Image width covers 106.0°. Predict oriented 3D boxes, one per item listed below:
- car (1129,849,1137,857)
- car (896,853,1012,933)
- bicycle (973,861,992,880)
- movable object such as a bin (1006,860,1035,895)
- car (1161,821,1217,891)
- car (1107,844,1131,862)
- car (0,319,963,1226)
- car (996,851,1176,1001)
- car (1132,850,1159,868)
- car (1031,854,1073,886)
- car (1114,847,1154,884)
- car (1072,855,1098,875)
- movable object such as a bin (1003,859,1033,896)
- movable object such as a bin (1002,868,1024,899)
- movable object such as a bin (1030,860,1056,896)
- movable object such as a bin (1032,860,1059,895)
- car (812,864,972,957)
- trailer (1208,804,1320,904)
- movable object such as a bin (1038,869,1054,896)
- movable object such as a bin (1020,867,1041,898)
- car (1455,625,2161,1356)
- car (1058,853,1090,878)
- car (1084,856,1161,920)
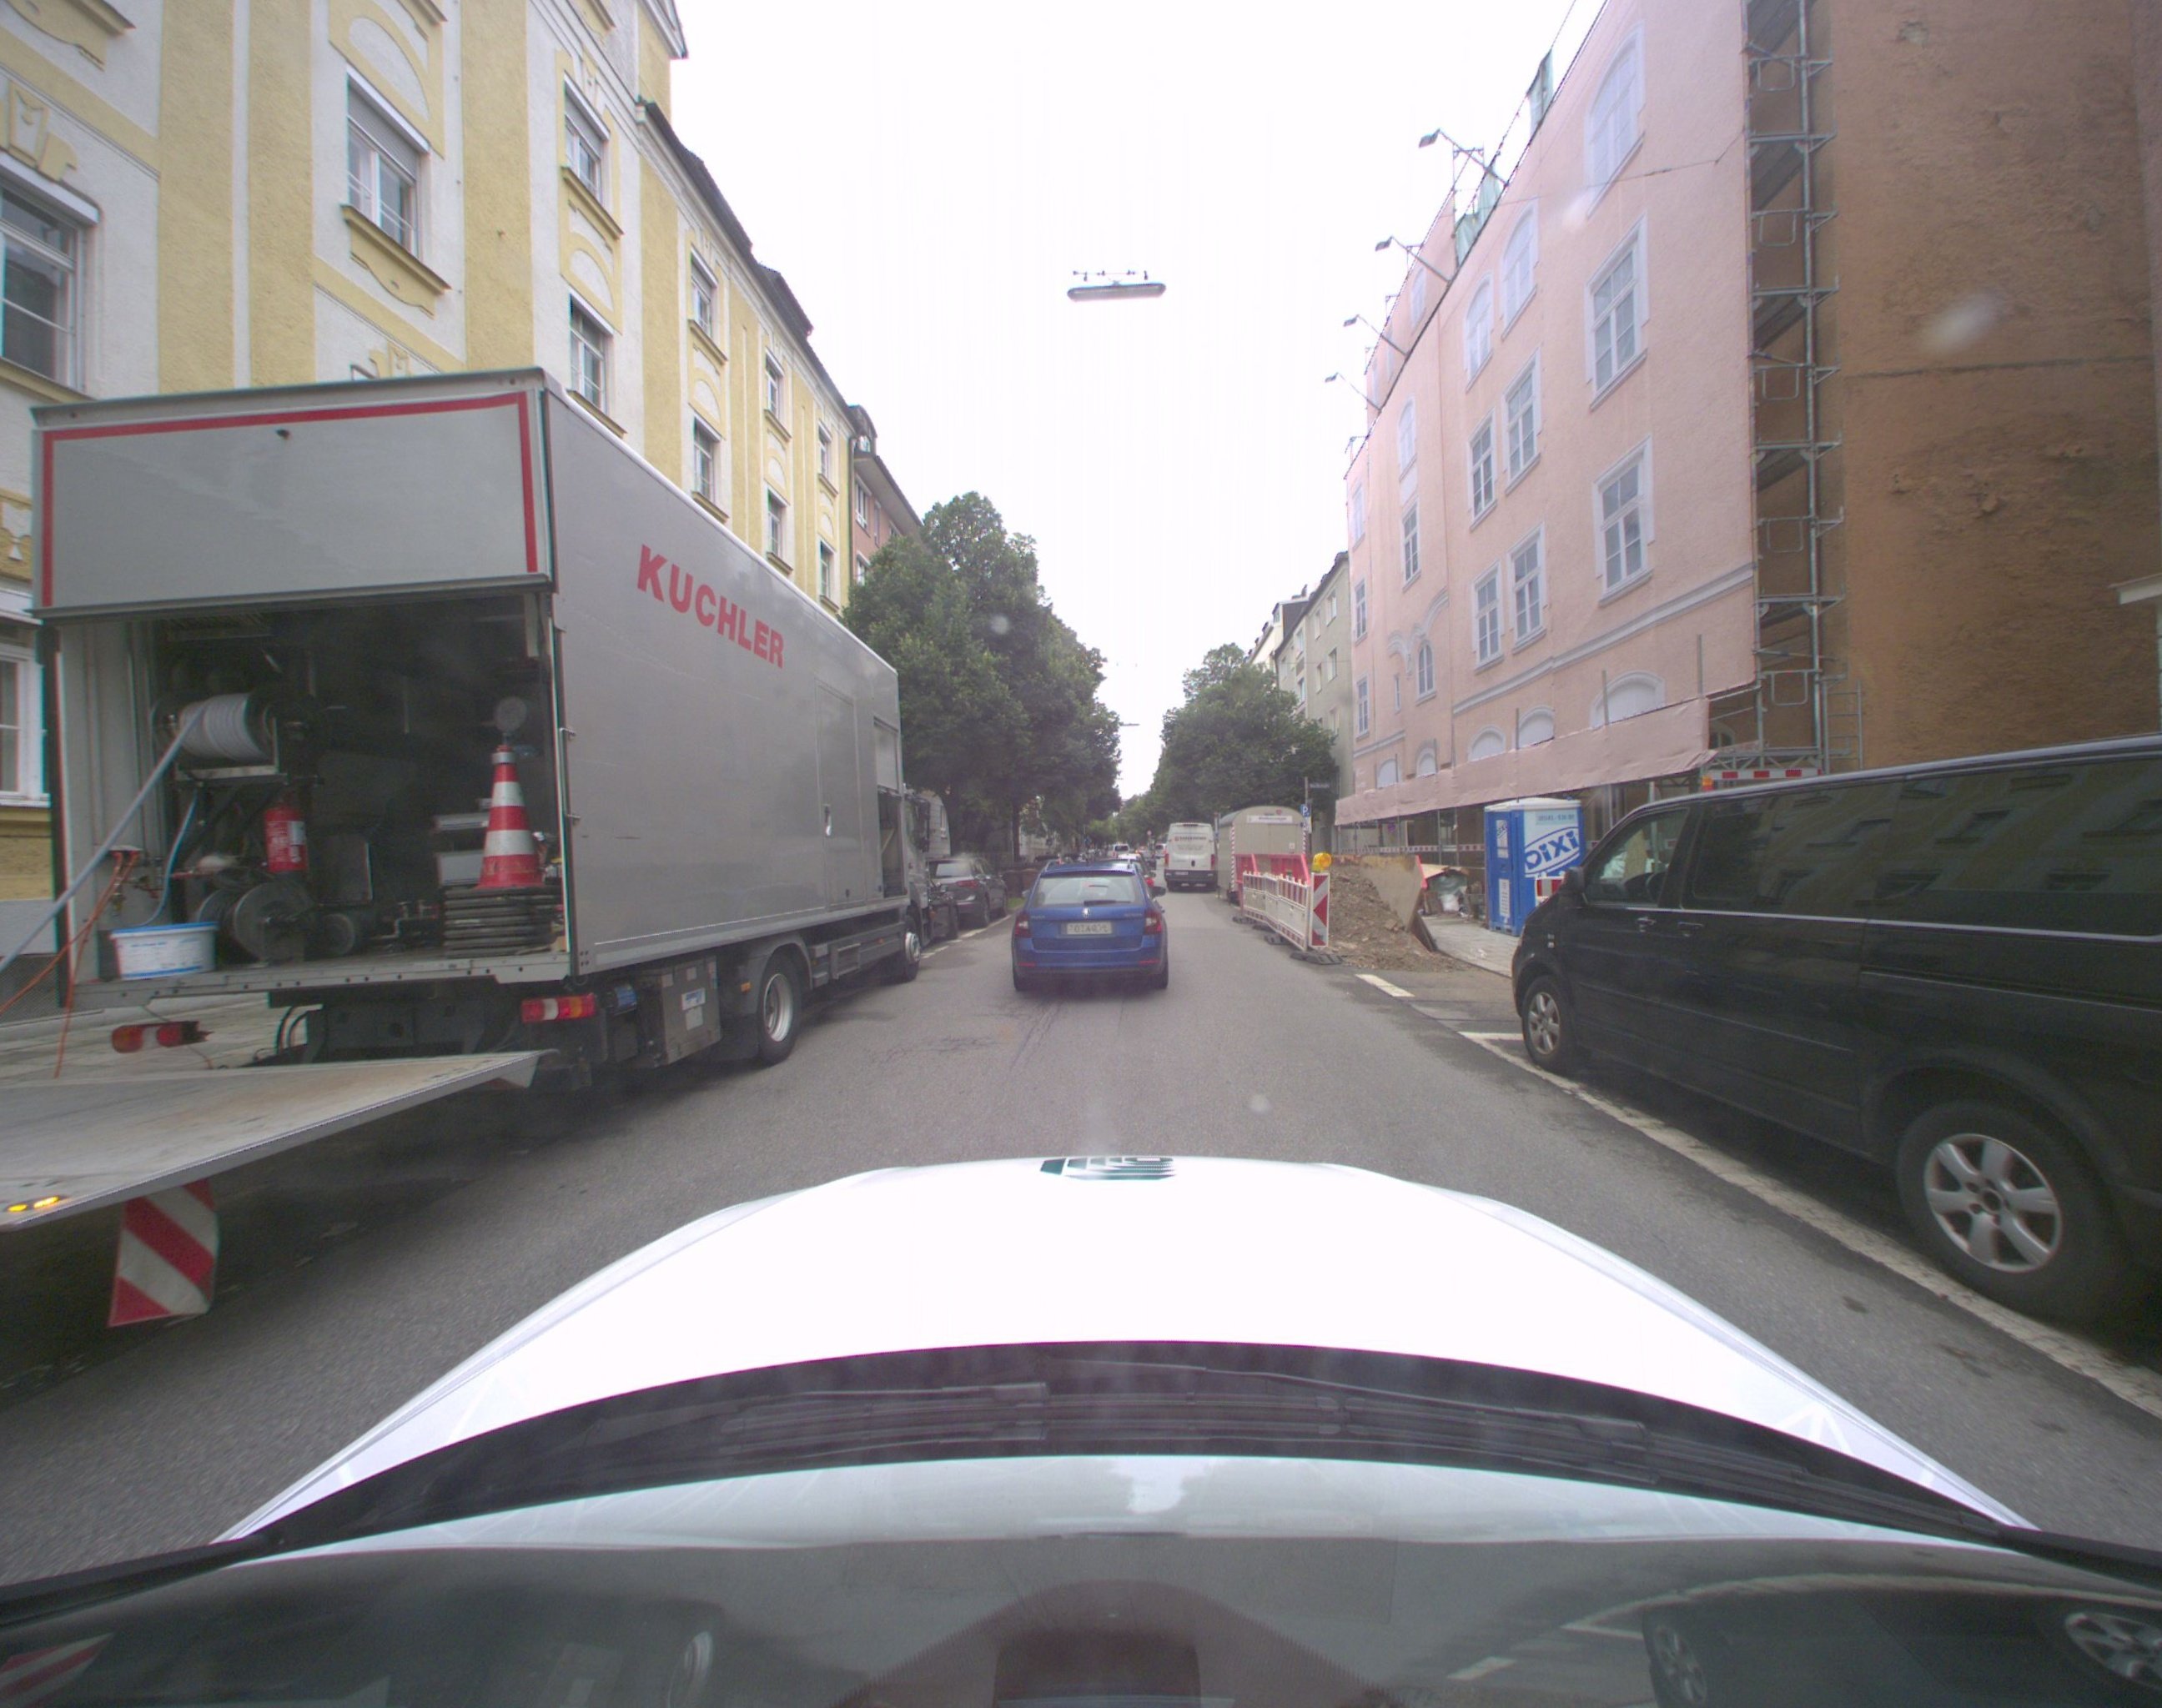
[{"bbox_3d":[12.297,-0.305,193.070,1.860,1.739,4.351,-2,0,3],"label":"car"},{"bbox_3d":[-2.893,0.833,19.513,1.777,1.628,4.190,-2,0,4],"label":"car"},{"bbox_3d":[-5.914,0.993,49.198,0.632,1.067,2.390,-2,0,5],"label":"bicycle"},{"bbox_3d":[-2.524,0.960,33.851,1.054,1.376,1.095,-3,0,-1],"label":"movable object such as a bin"},{"bbox_3d":[4.541,0.088,33.702,2.100,2.664,5.514,0,-1,9],"label":"car"},{"bbox_3d":[3.925,-0.135,84.978,1.866,1.870,4.337,0,0,-7],"label":"car"},{"bbox_3d":[-3.463,-0.311,7.854,2.801,3.817,8.730,-2,0,3],"label":"car"},{"bbox_3d":[0.124,0.736,10.384,1.782,1.460,4.316,-2,0,2],"label":"car"},{"bbox_3d":[5.034,0.396,64.034,1.861,1.348,4.348,0,0,1],"label":"car"},{"bbox_3d":[-1.380,0.752,40.615,1.805,1.478,4.002,-1,0,2],"label":"car"},{"bbox_3d":[2.564,0.519,39.689,1.860,1.696,4.351,0,0,3],"label":"car"},{"bbox_3d":[0.322,0.808,63.353,1.804,1.478,4.004,-1,0,4],"label":"car"},{"bbox_3d":[-2.522,0.935,32.749,1.078,1.376,1.083,-3,0,-1],"label":"movable object such as a bin"},{"bbox_3d":[-2.655,1.142,31.865,0.718,1.138,0.658,-3,0,0],"label":"movable object such as a bin"},{"bbox_3d":[-1.525,0.946,32.786,0.915,1.376,1.079,-3,0,-1],"label":"movable object such as a bin"},{"bbox_3d":[-1.468,0.960,33.883,1.017,1.376,1.103,-3,0,-1],"label":"movable object such as a bin"},{"bbox_3d":[-3.239,0.917,14.711,1.691,1.409,3.714,-2,0,5],"label":"car"},{"bbox_3d":[5.728,0.026,26.537,2.491,2.840,6.907,0,-1,4],"label":"trailer"},{"bbox_3d":[-1.369,1.112,31.922,0.545,1.020,0.636,-3,0,0],"label":"movable object such as a bin"},{"bbox_3d":[-1.988,1.105,31.890,0.709,1.148,0.636,-3,0,0],"label":"movable object such as a bin"},{"bbox_3d":[4.072,0.459,4.402,2.073,1.921,5.146,0,-2,5],"label":"car"},{"bbox_3d":[-0.397,0.713,51.322,1.805,1.478,4.002,-1,0,2],"label":"car"},{"bbox_3d":[1.069,0.762,19.979,1.733,1.422,3.668,0,0,4],"label":"car"}]
